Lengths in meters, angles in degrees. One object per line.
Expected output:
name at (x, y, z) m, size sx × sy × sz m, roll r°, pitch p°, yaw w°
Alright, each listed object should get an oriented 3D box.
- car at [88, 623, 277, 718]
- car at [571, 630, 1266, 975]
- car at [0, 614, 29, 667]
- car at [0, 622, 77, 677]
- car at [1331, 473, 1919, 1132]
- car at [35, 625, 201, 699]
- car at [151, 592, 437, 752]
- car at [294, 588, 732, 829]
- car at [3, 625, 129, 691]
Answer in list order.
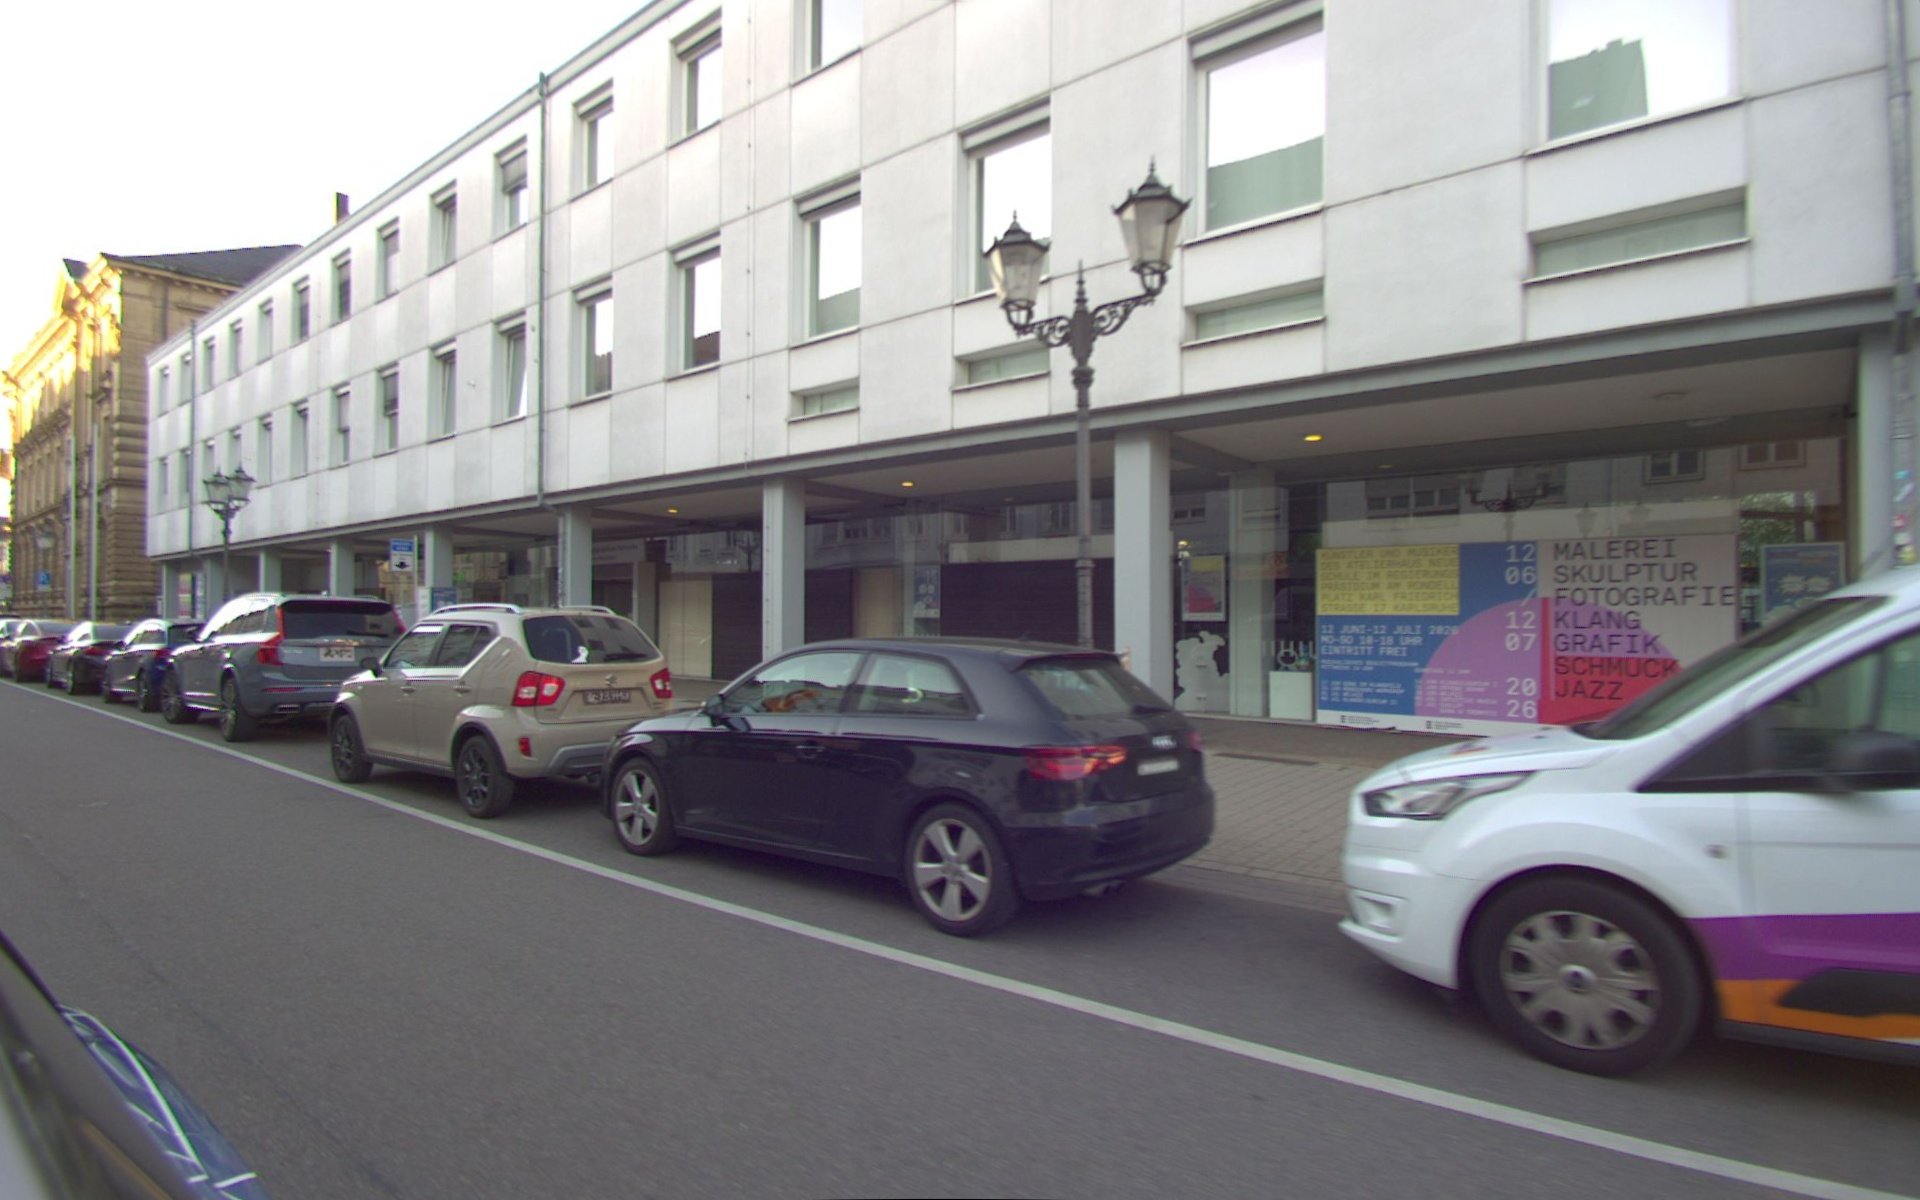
car at (-13.015, 1.088, 16.866) m, size 3.997 × 1.411 × 1.656 m, roll -1°, pitch -2°, yaw 40°
car at (-0.464, 0.886, 6.080) m, size 4.100 × 1.364 × 1.662 m, roll -1°, pitch -1°, yaw 38°
car at (-31.341, 1.287, 32.465) m, size 4.164 × 1.627 × 1.766 m, roll -1°, pitch -2°, yaw 42°
car at (-26.084, 1.323, 28.156) m, size 4.087 × 1.419 × 1.766 m, roll -1°, pitch -2°, yaw 42°
car at (3.881, 0.557, 3.192) m, size 4.771 × 1.829 × 1.977 m, roll -1°, pitch -1°, yaw 34°
car at (-17.355, 1.219, 20.803) m, size 3.998 × 1.364 × 1.973 m, roll -1°, pitch -3°, yaw 41°
car at (-8.842, 0.847, 13.293) m, size 4.513 × 1.741 × 1.973 m, roll -1°, pitch -3°, yaw 41°
car at (-4.111, 0.801, 9.088) m, size 3.995 × 1.674 × 1.974 m, roll -1°, pitch -2°, yaw 38°
car at (-21.309, 1.309, 24.074) m, size 4.087 × 1.419 × 1.766 m, roll -1°, pitch -2°, yaw 42°
